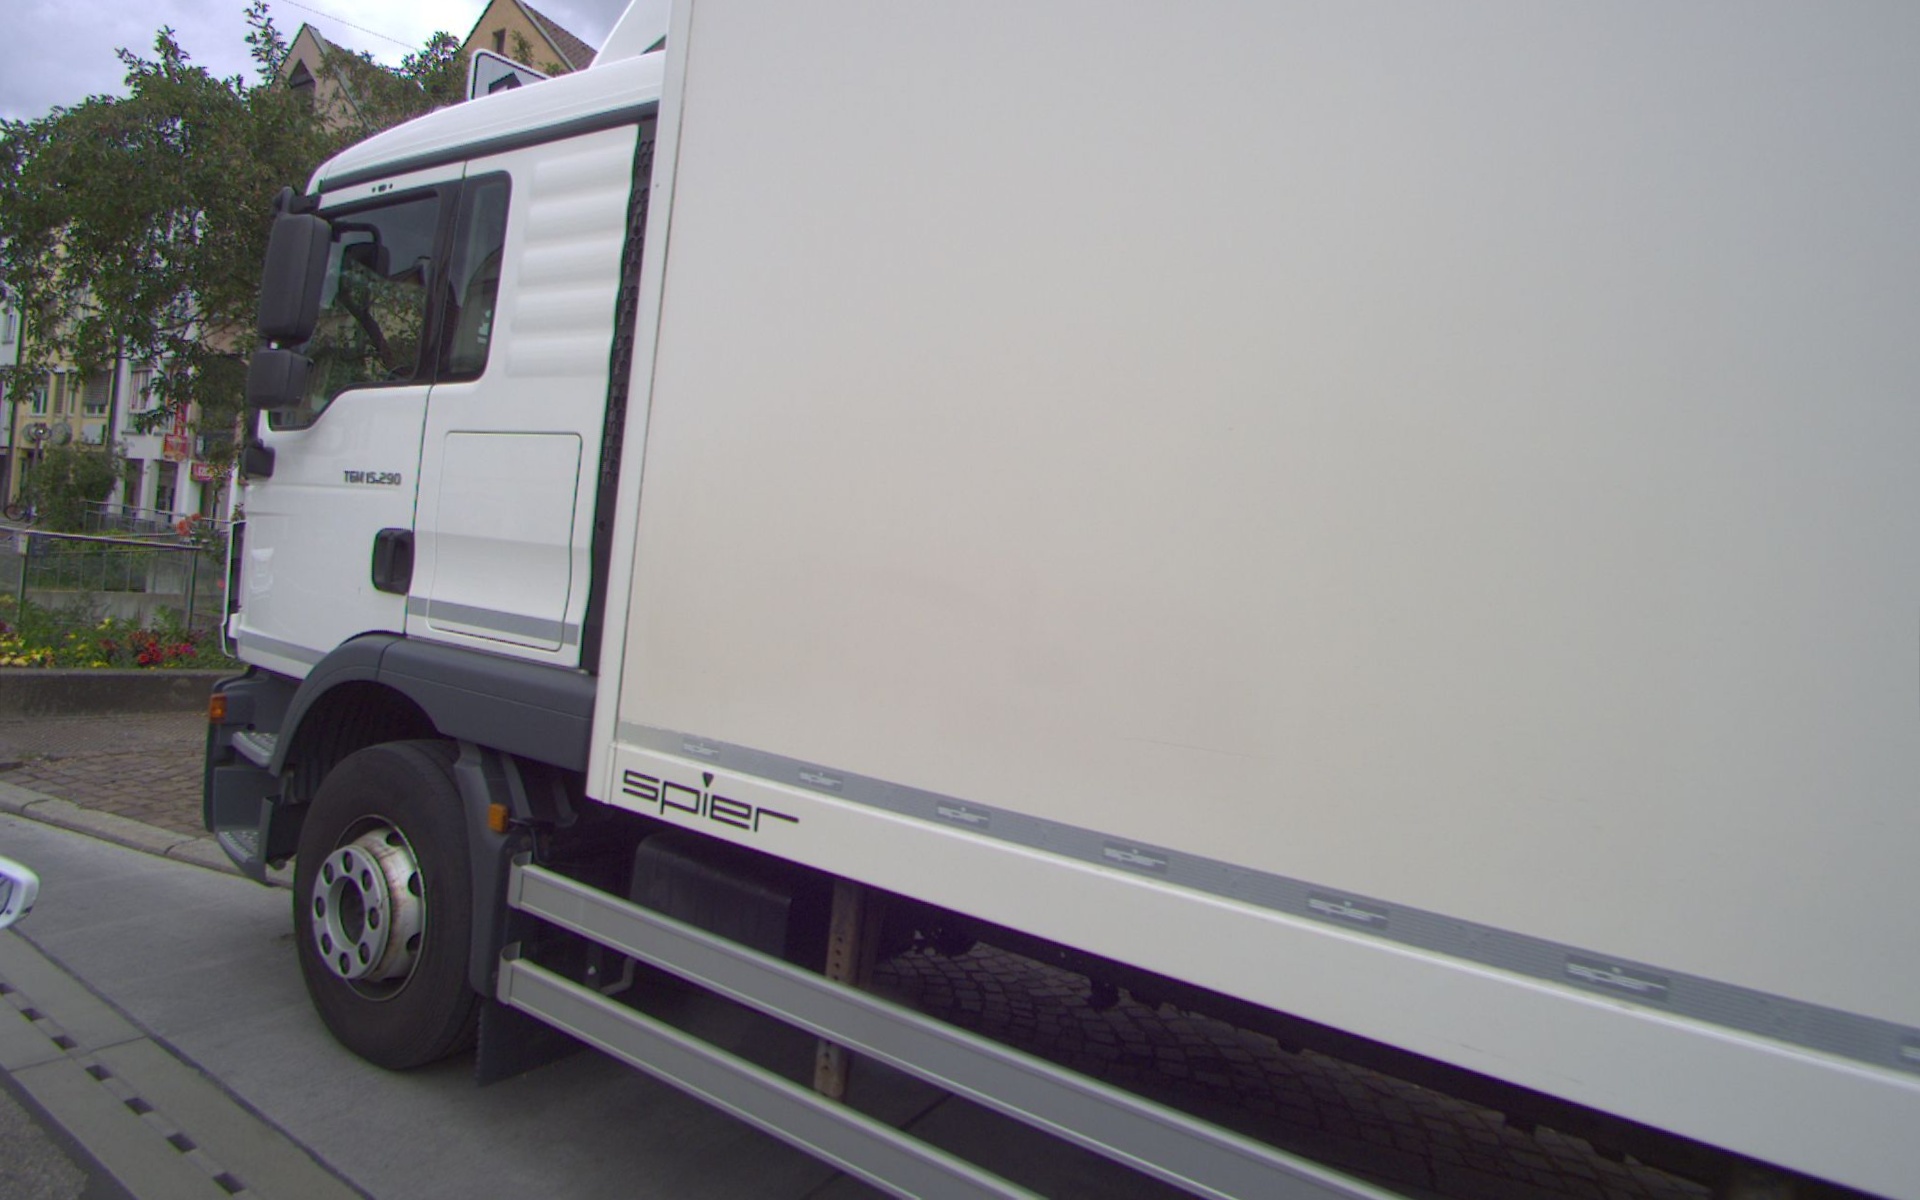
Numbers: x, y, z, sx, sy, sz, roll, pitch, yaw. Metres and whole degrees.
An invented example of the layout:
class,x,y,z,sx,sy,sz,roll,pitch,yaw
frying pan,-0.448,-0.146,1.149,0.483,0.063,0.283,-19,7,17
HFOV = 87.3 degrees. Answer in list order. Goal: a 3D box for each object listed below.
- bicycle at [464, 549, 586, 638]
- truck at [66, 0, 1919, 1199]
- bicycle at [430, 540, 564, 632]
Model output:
class,x,y,z,sx,sy,sz,roll,pitch,yaw
bicycle,-7.036,-0.080,16.353,0.658,1.275,1.677,7,1,27
truck,1.899,-0.154,2.083,9.602,3.606,2.691,7,1,31
bicycle,-7.733,-0.203,16.886,0.828,1.343,1.819,7,1,27
